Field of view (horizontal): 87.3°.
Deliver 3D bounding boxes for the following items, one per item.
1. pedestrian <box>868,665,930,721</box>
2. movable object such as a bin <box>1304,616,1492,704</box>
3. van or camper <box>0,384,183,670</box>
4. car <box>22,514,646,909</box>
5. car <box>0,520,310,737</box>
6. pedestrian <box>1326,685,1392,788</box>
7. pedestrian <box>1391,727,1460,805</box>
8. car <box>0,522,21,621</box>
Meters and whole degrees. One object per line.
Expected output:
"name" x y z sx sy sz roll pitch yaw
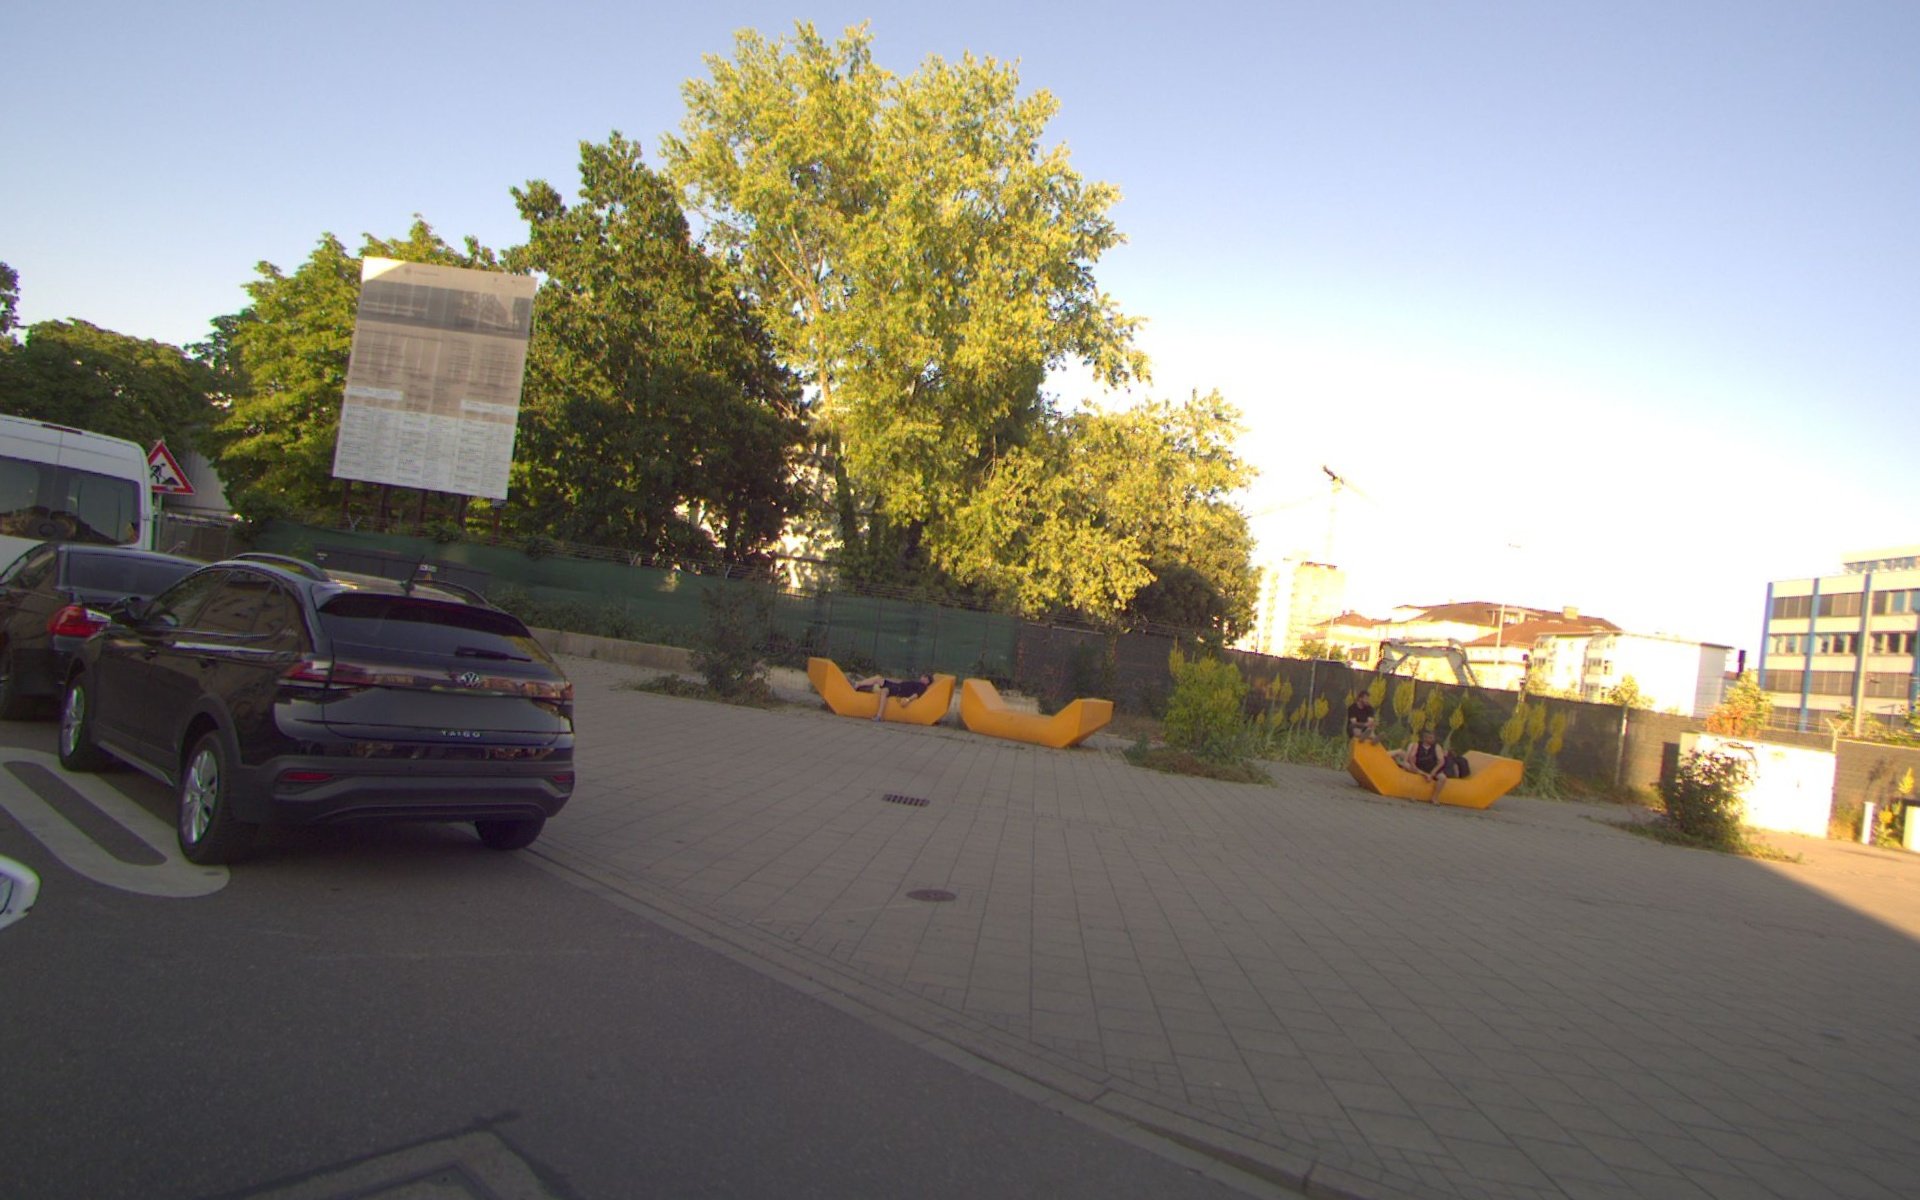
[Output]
"pedestrian" -1.151 1.748 18.881 0.966 0.903 0.560 8 -2 -15
"movable object such as a bin" 13.541 1.845 31.189 4.941 2.037 1.997 6 -2 32
"van or camper" -11.961 -0.939 12.585 6.360 2.806 2.076 5 -3 41
"car" -4.043 0.456 6.213 4.227 1.561 1.779 6 -3 38
"car" -7.705 0.147 9.056 4.409 1.445 1.729 6 -3 39
"pedestrian" 7.192 2.445 18.190 0.749 1.684 0.823 7 -1 7
"pedestrian" 8.171 2.897 17.704 0.721 1.171 0.992 7 -2 7
"car" -16.488 -0.667 16.004 4.041 1.476 1.692 6 -3 40
